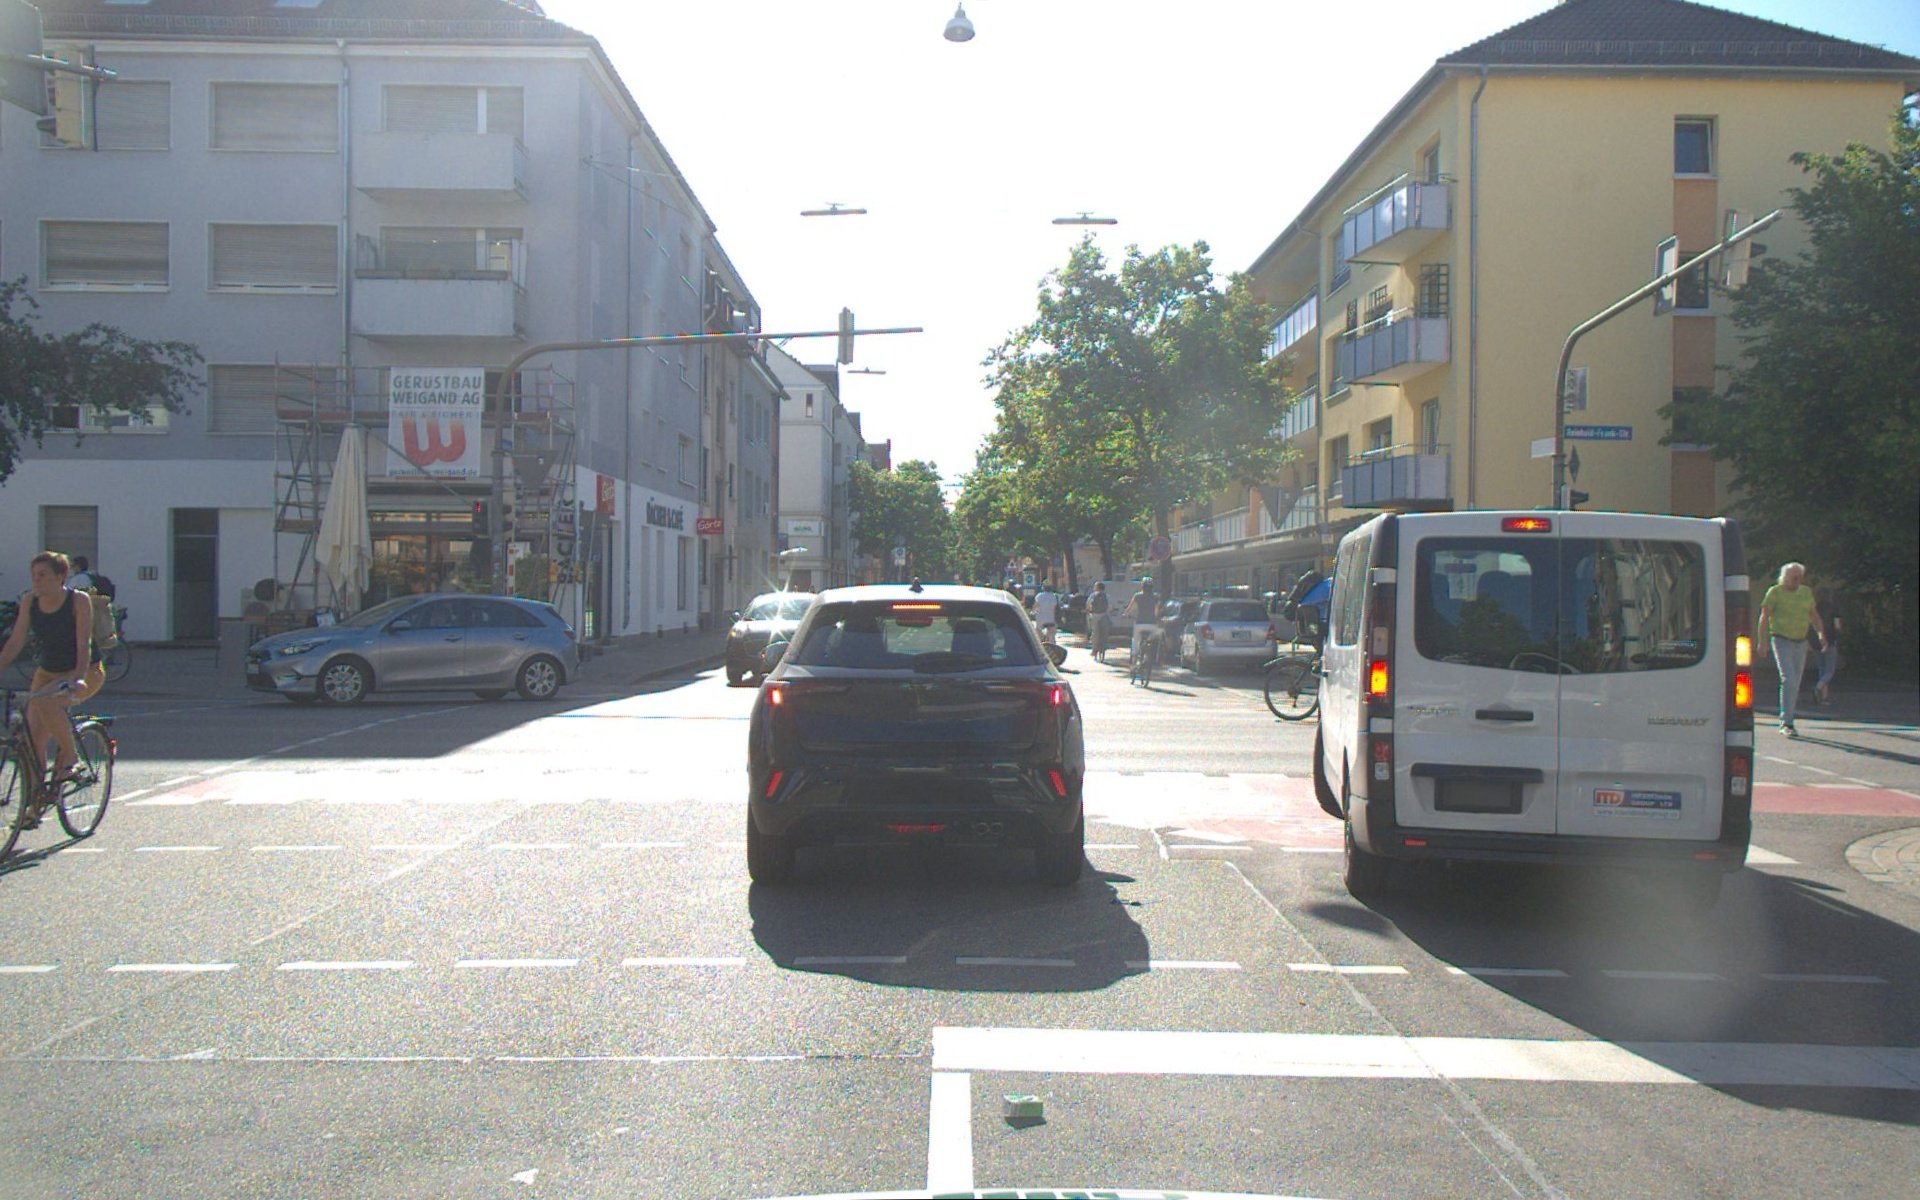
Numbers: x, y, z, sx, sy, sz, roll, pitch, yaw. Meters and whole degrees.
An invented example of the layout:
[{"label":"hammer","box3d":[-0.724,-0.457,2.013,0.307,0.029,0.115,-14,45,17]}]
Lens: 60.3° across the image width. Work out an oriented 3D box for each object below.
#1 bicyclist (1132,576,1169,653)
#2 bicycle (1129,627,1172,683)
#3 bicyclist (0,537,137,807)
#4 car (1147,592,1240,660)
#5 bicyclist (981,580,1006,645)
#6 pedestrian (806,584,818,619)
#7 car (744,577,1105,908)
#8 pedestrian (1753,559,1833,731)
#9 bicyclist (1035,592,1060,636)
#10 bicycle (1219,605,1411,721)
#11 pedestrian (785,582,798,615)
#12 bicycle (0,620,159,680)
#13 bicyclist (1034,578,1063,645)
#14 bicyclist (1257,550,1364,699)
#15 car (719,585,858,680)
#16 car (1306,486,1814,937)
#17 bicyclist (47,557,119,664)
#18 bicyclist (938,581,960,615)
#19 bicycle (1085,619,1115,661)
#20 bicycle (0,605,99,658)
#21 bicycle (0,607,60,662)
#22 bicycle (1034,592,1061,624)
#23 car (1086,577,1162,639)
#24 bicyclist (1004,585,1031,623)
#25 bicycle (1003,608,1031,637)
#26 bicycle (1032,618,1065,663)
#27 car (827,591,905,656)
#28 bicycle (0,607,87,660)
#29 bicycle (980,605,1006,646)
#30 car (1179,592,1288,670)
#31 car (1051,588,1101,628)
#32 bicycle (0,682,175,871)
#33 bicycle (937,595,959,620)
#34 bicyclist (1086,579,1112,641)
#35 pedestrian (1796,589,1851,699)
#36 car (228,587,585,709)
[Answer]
[{"label":"bicyclist","box3d":[3.242,0.241,28.137,0.535,1.284,0.803,0,0,0]},{"label":"bicycle","box3d":[3.237,0.920,28.167,0.535,0.881,1.876,0,1,1]},{"label":"bicyclist","box3d":[-5.368,0.409,9.872,0.531,1.547,0.774,0,0,-1]},{"label":"car","box3d":[5.422,0.577,38.768,1.677,1.509,3.381,0,1,0]},{"label":"bicyclist","box3d":[0.872,0.318,43.682,0.619,1.698,1.050,0,0,-1]},{"label":"pedestrian","box3d":[-6.767,0.063,75.588,0.566,1.610,0.707,0,0,-6]},{"label":"car","box3d":[-0.195,0.679,9.943,1.726,1.585,3.999,0,0,-1]},{"label":"pedestrian","box3d":[8.836,0.470,17.560,0.515,1.792,0.623,0,0,-2]},{"label":"bicyclist","box3d":[2.452,0.390,46.363,0.677,1.214,0.595,0,0,0]},{"label":"bicycle","box3d":[4.118,0.705,19.191,2.088,1.277,0.804,0,0,21]},{"label":"pedestrian","box3d":[-7.710,-0.054,75.762,0.566,1.493,0.702,0,0,-6]},{"label":"bicycle","box3d":[-13.253,0.752,24.876,2.086,0.848,0.553,1,0,-12]},{"label":"bicyclist","box3d":[1.869,0.230,35.050,0.576,1.406,0.823,0,0,0]},{"label":"bicyclist","box3d":[4.077,0.268,19.200,1.098,1.678,0.804,0,0,21]},{"label":"car","box3d":[-3.039,0.552,30.095,1.558,1.593,4.092,-1,0,8]},{"label":"car","box3d":[3.234,0.491,10.034,1.926,1.974,5.060,2,0,9]},{"label":"bicyclist","box3d":[-13.186,0.159,24.884,0.797,1.576,0.553,1,0,-11]},{"label":"bicyclist","box3d":[-0.466,-0.082,67.505,0.839,1.337,1.210,2,0,-1]},{"label":"bicycle","box3d":[3.209,0.910,37.958,0.535,0.881,1.876,0,1,1]},{"label":"bicycle","box3d":[-16.914,0.583,30.724,1.556,0.956,0.512,0,0,1]},{"label":"bicycle","box3d":[-16.840,0.603,29.263,1.556,0.956,0.512,0,0,1]},{"label":"bicycle","box3d":[2.450,0.212,46.385,0.677,0.881,1.876,0,1,1]},{"label":"car","box3d":[5.162,0.227,52.657,2.004,1.879,4.584,0,1,1]},{"label":"bicyclist","box3d":[2.074,0.137,59.634,0.839,1.337,1.210,2,0,-1]},{"label":"bicycle","box3d":[2.047,0.795,59.727,0.839,0.961,2.307,2,0,-1]},{"label":"bicycle","box3d":[1.867,0.836,35.011,0.607,0.881,1.876,0,1,1]},{"label":"car","box3d":[-2.300,0.529,40.403,1.769,1.437,4.423,-1,1,-3]},{"label":"bicycle","box3d":[-16.775,0.603,30.041,1.556,0.956,0.512,0,0,1]},{"label":"bicycle","box3d":[0.877,0.665,43.830,0.619,1.059,1.795,0,0,-1]},{"label":"car","box3d":[5.606,0.608,34.245,1.677,1.509,3.480,0,1,0]},{"label":"car","box3d":[4.539,0.278,65.053,1.677,1.509,3.381,0,1,0]},{"label":"bicycle","box3d":[-5.372,1.000,9.862,0.531,0.918,1.826,0,1,-1]},{"label":"bicycle","box3d":[-0.484,0.284,67.435,0.839,0.961,2.307,2,0,-1]},{"label":"bicyclist","box3d":[3.191,0.231,37.914,0.535,1.406,0.823,0,0,0]},{"label":"pedestrian","box3d":[12.784,0.643,24.488,0.528,1.598,0.539,0,0,-1]},{"label":"car","box3d":[-7.262,0.555,21.914,4.140,1.458,1.815,0,1,-42]}]
